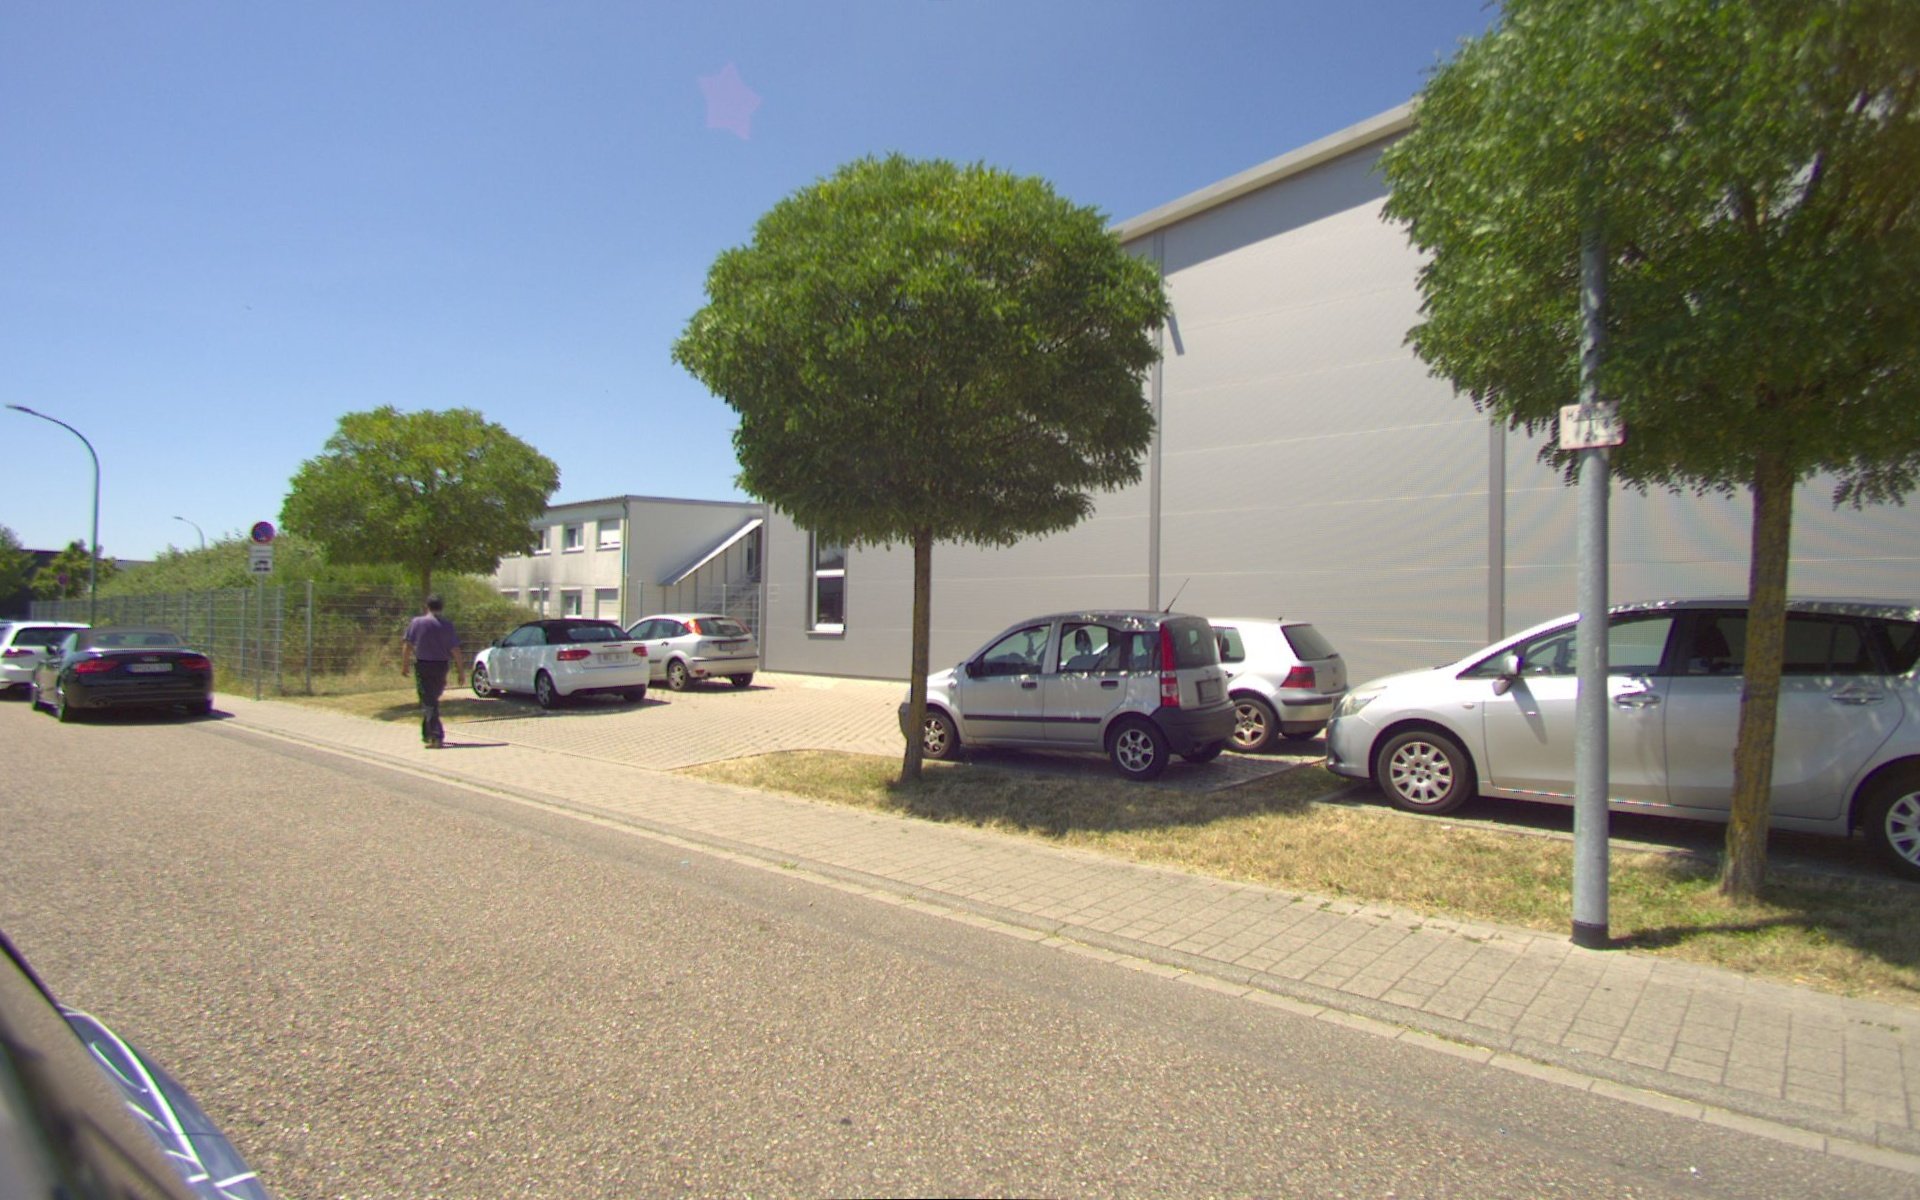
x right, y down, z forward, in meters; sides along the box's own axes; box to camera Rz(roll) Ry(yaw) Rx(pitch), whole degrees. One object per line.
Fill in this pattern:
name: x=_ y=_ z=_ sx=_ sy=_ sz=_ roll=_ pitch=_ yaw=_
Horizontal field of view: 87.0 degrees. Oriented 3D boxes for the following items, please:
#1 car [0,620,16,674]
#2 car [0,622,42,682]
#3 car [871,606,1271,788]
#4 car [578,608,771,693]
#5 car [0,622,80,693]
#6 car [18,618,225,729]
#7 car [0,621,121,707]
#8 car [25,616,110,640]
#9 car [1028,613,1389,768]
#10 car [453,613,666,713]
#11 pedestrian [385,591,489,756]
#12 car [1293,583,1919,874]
car: x=-30.206 y=1.372 z=30.666 sx=4.383 sy=1.582 sz=1.805 roll=-1 pitch=-3 yaw=40
car: x=-26.185 y=1.349 z=27.157 sx=4.518 sy=1.511 sz=1.805 roll=-1 pitch=-3 yaw=42
car: x=1.035 y=0.854 z=10.223 sx=3.698 sy=1.511 sz=1.667 roll=-1 pitch=-2 yaw=37
car: x=-5.816 y=0.947 z=20.347 sx=4.259 sy=1.511 sz=1.804 roll=-1 pitch=-1 yaw=43
car: x=-21.950 y=1.271 z=23.406 sx=4.518 sy=1.511 sz=1.805 roll=-1 pitch=-3 yaw=42
car: x=-13.415 y=1.077 z=16.101 sx=4.524 sy=1.511 sz=1.805 roll=-1 pitch=-3 yaw=41
car: x=-18.056 y=1.193 z=19.857 sx=4.257 sy=1.511 sz=1.805 roll=-1 pitch=-3 yaw=42
car: x=-62.591 y=1.930 z=71.022 sx=1.779 sy=1.613 sz=4.225 roll=-1 pitch=-1 yaw=40
car: x=2.780 y=0.906 z=11.650 sx=3.698 sy=1.511 sz=1.667 roll=-1 pitch=-1 yaw=37
car: x=-7.094 y=1.008 z=17.691 sx=4.328 sy=1.511 sz=1.804 roll=-1 pitch=-1 yaw=43
pedestrian: x=-6.085 y=0.814 z=11.770 sx=1.135 sy=1.815 sz=0.736 roll=-1 pitch=-1 yaw=43
car: x=4.860 y=0.720 z=7.027 sx=4.538 sy=1.585 sz=1.747 roll=-1 pitch=-1 yaw=42
